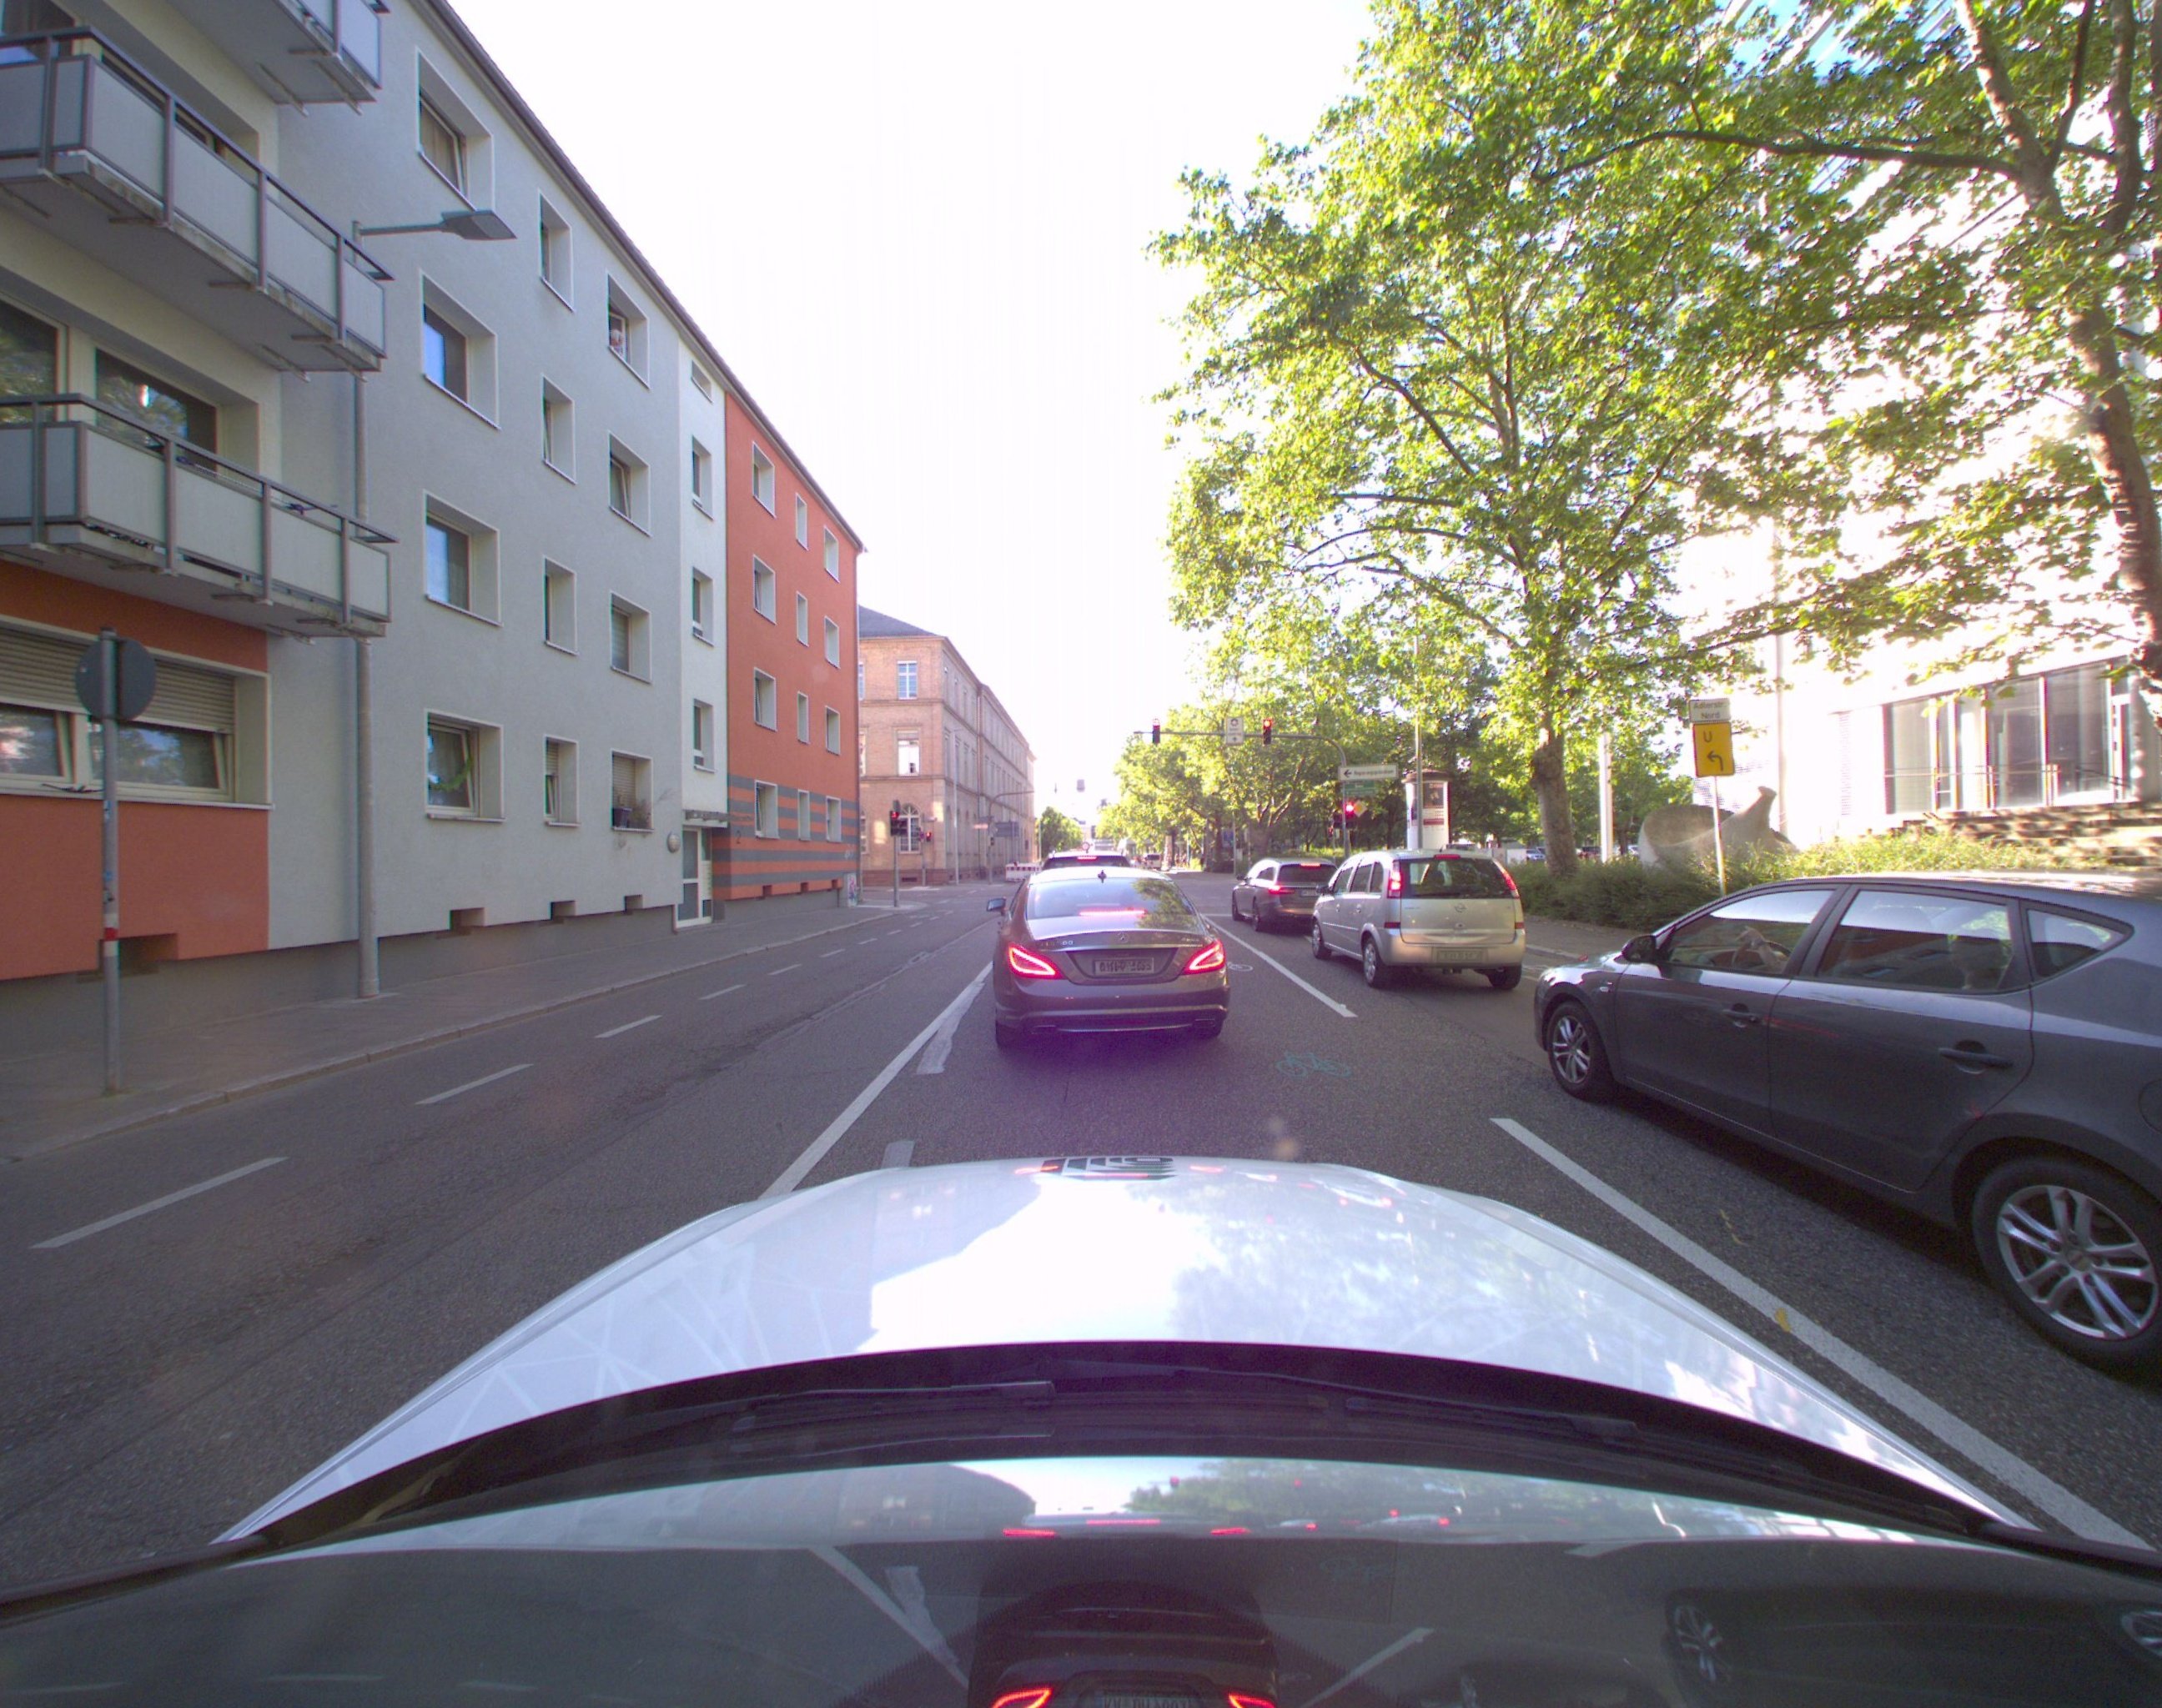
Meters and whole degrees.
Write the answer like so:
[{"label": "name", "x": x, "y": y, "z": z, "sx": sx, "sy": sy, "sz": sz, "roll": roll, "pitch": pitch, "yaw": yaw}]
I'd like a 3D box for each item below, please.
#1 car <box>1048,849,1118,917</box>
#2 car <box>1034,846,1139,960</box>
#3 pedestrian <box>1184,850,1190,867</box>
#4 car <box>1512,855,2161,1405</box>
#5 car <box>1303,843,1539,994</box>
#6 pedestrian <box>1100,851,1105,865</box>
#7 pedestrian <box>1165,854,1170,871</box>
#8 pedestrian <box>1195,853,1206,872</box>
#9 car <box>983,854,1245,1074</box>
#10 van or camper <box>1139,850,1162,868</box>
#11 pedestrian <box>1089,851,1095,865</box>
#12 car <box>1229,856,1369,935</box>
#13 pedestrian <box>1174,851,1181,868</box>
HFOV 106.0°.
[{"label": "car", "x": 0.125, "y": 0.768, "z": 23.369, "sx": 1.813, "sy": 1.762, "sz": 4.002, "roll": -1, "pitch": 0, "yaw": 2}, {"label": "car", "x": 0.070, "y": 0.710, "z": 13.799, "sx": 1.513, "sy": 1.647, "sz": 3.879, "roll": -1, "pitch": 0, "yaw": 0}, {"label": "pedestrian", "x": 11.277, "y": 0.482, "z": 86.591, "sx": 0.601, "sy": 1.821, "sz": 0.652, "roll": -1, "pitch": 0, "yaw": 1}, {"label": "car", "x": 3.786, "y": 0.754, "z": 3.718, "sx": 1.638, "sy": 1.482, "sz": 3.978, "roll": 1, "pitch": 0, "yaw": 2}, {"label": "car", "x": 4.190, "y": 0.694, "z": 10.713, "sx": 1.694, "sy": 1.603, "sz": 3.863, "roll": 1, "pitch": 0, "yaw": 4}, {"label": "pedestrian", "x": 3.145, "y": 0.622, "z": 118.937, "sx": 0.722, "sy": 2.013, "sz": 0.748, "roll": -1, "pitch": 0, "yaw": -2}, {"label": "pedestrian", "x": 10.547, "y": 1.020, "z": 99.497, "sx": 0.537, "sy": 2.014, "sz": 0.474, "roll": 0, "pitch": -1, "yaw": 1}, {"label": "pedestrian", "x": 10.081, "y": 0.701, "z": 68.550, "sx": 0.827, "sy": 1.606, "sz": 0.652, "roll": -1, "pitch": 0, "yaw": 1}, {"label": "car", "x": 0.050, "y": 0.749, "z": 7.764, "sx": 1.801, "sy": 1.456, "sz": 4.342, "roll": -1, "pitch": 0, "yaw": -5}, {"label": "van or camper", "x": 7.851, "y": 0.573, "z": 92.724, "sx": 1.989, "sy": 1.941, "sz": 4.590, "roll": -1, "pitch": 0, "yaw": -3}, {"label": "pedestrian", "x": 1.604, "y": 0.644, "z": 119.113, "sx": 0.722, "sy": 2.013, "sz": 0.748, "roll": -1, "pitch": 0, "yaw": -2}, {"label": "car", "x": 4.470, "y": 0.771, "z": 17.483, "sx": 1.905, "sy": 1.464, "sz": 4.671, "roll": 0, "pitch": 0, "yaw": 2}, {"label": "pedestrian", "x": 10.272, "y": 0.591, "z": 86.788, "sx": 0.601, "sy": 1.821, "sz": 0.652, "roll": -1, "pitch": 0, "yaw": 1}]
